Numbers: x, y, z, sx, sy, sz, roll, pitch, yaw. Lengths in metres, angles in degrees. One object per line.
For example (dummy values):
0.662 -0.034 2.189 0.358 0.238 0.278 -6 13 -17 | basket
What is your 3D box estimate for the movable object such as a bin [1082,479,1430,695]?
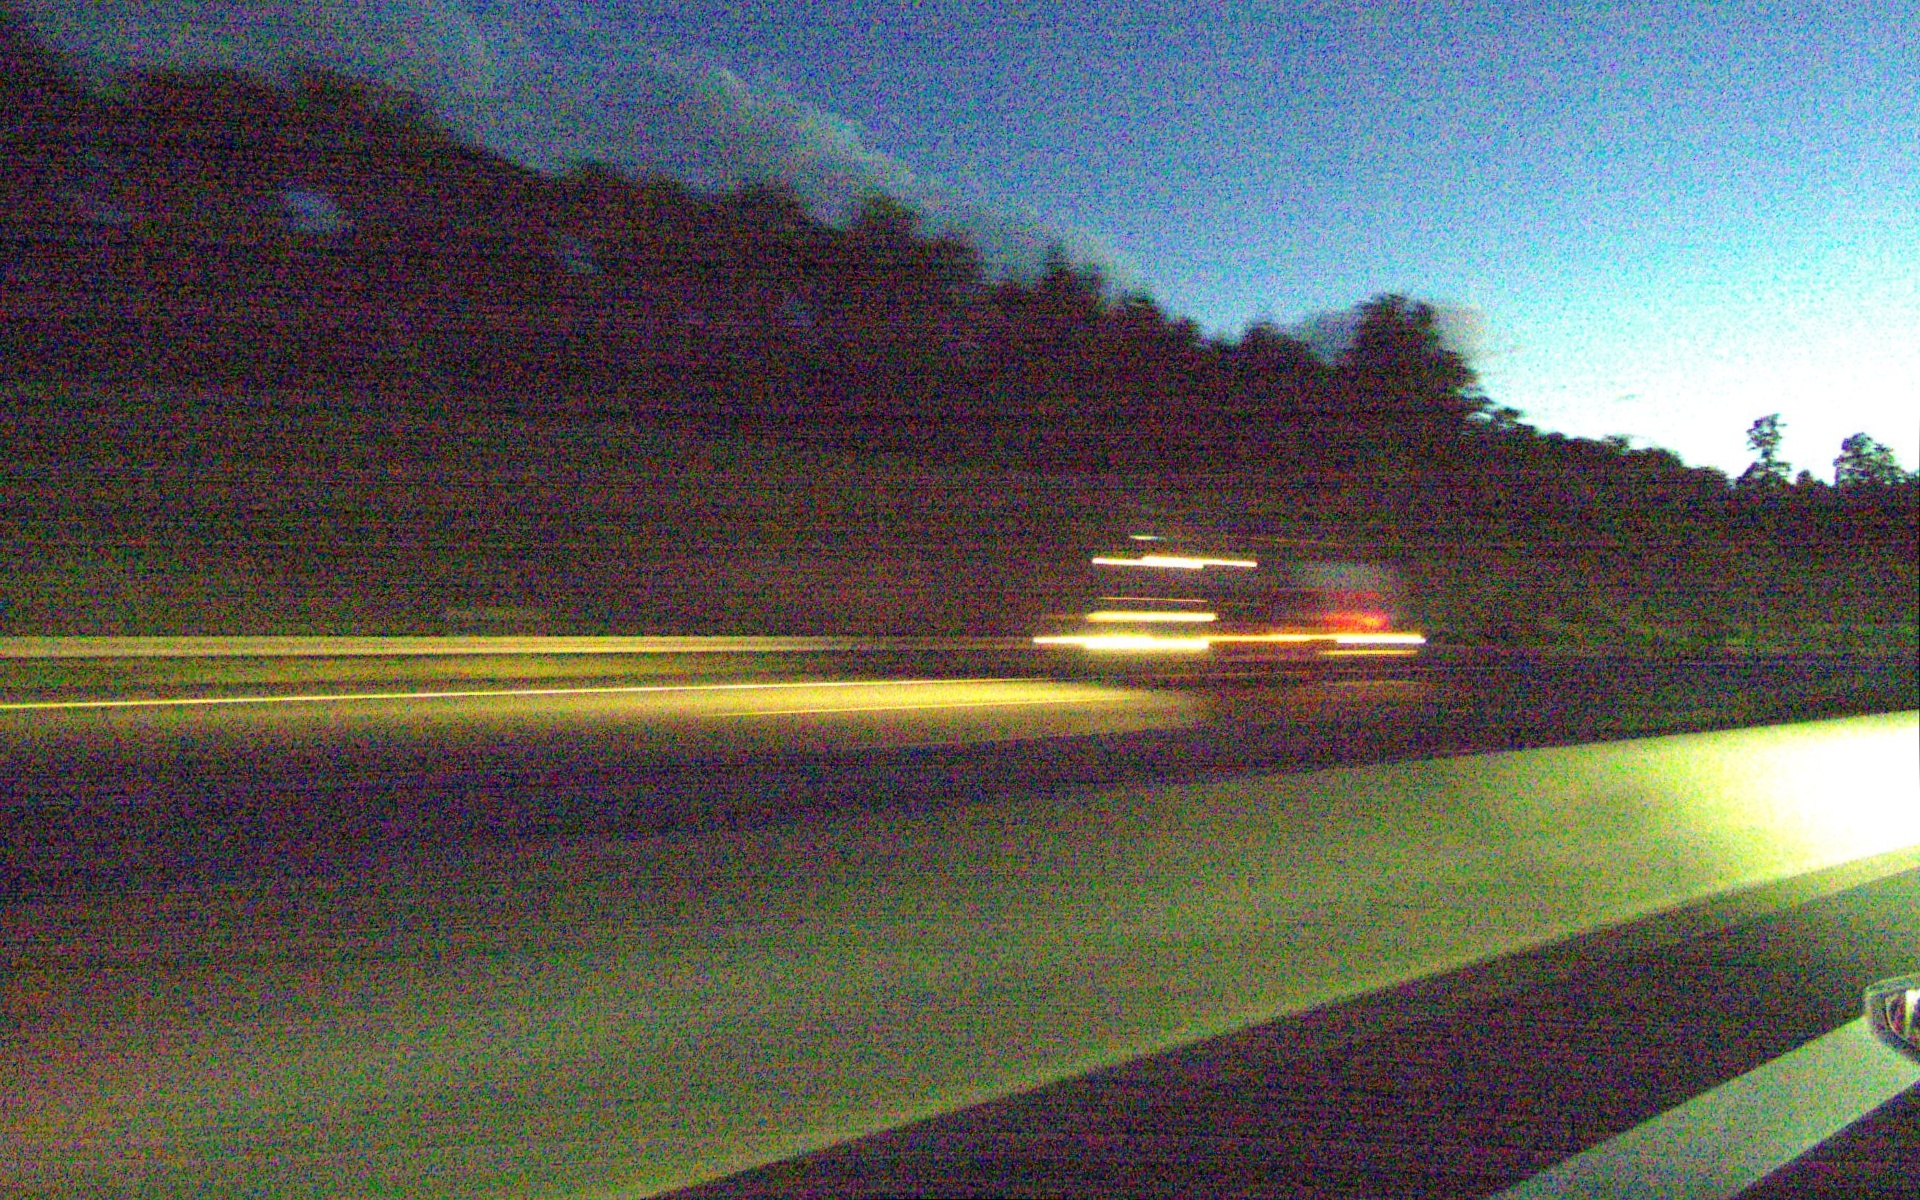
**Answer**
6.265 -0.158 20.696 7.596 3.819 2.282 1 0 -30 | movable object such as a bin
